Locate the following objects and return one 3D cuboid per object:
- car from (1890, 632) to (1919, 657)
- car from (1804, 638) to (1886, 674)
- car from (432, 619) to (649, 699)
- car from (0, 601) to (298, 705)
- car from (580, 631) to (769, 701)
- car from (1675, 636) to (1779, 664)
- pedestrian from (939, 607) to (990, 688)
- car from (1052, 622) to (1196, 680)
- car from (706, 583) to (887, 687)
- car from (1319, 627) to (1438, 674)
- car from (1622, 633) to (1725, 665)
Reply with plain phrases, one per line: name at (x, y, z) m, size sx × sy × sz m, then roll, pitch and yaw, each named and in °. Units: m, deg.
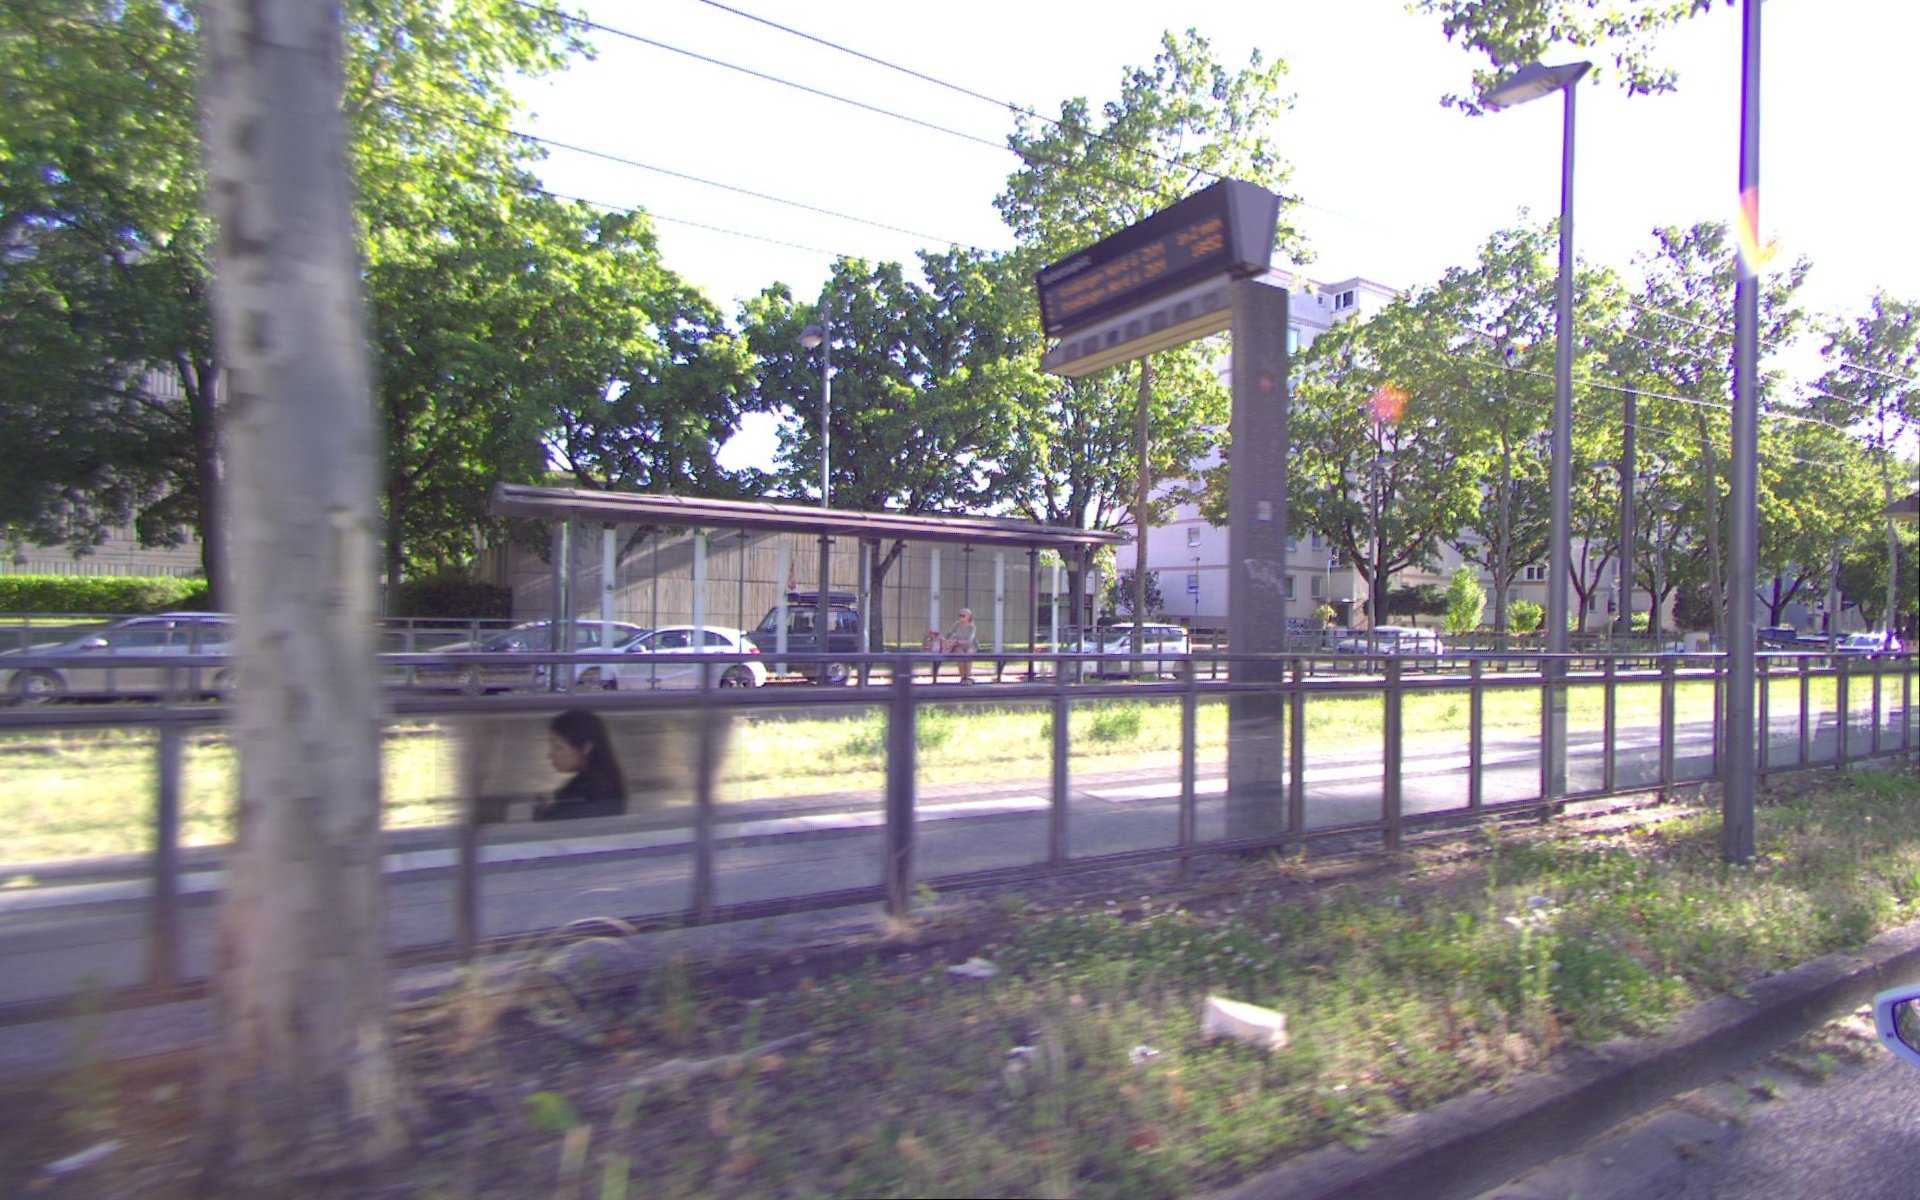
car at (66.717, 3.118, 68.835) m, size 4.004 × 1.667 × 1.652 m, roll 1°, pitch -2°, yaw 18°
car at (41.726, 2.609, 47.363) m, size 3.885 × 1.566 × 1.706 m, roll 1°, pitch -1°, yaw -29°
car at (-8.681, 1.182, 20.896) m, size 3.975 × 1.508 × 1.585 m, roll 1°, pitch -1°, yaw -32°
car at (-13.995, 0.892, 17.617) m, size 3.885 × 1.658 × 1.586 m, roll 1°, pitch -1°, yaw -31°
car at (-5.557, 1.250, 19.685) m, size 3.339 × 1.258 × 1.256 m, roll 1°, pitch -1°, yaw -32°
car at (38.911, 2.538, 51.052) m, size 3.749 × 1.263 × 1.841 m, roll 1°, pitch -1°, yaw 18°
pedestrian at (0.062, 0.762, 16.543) m, size 0.784 × 1.277 × 0.840 m, roll 2°, pitch 0°, yaw -2°
car at (4.747, 1.442, 29.060) m, size 3.884 × 1.566 × 1.707 m, roll 1°, pitch -1°, yaw -28°
car at (-3.870, 0.821, 23.904) m, size 3.889 × 2.292 × 1.705 m, roll 1°, pitch -1°, yaw -32°
car at (14.794, 1.765, 35.478) m, size 4.150 × 1.566 × 1.706 m, roll 1°, pitch -1°, yaw -30°
car at (35.422, 2.431, 49.949) m, size 3.747 × 1.454 × 1.842 m, roll 1°, pitch -1°, yaw 10°
